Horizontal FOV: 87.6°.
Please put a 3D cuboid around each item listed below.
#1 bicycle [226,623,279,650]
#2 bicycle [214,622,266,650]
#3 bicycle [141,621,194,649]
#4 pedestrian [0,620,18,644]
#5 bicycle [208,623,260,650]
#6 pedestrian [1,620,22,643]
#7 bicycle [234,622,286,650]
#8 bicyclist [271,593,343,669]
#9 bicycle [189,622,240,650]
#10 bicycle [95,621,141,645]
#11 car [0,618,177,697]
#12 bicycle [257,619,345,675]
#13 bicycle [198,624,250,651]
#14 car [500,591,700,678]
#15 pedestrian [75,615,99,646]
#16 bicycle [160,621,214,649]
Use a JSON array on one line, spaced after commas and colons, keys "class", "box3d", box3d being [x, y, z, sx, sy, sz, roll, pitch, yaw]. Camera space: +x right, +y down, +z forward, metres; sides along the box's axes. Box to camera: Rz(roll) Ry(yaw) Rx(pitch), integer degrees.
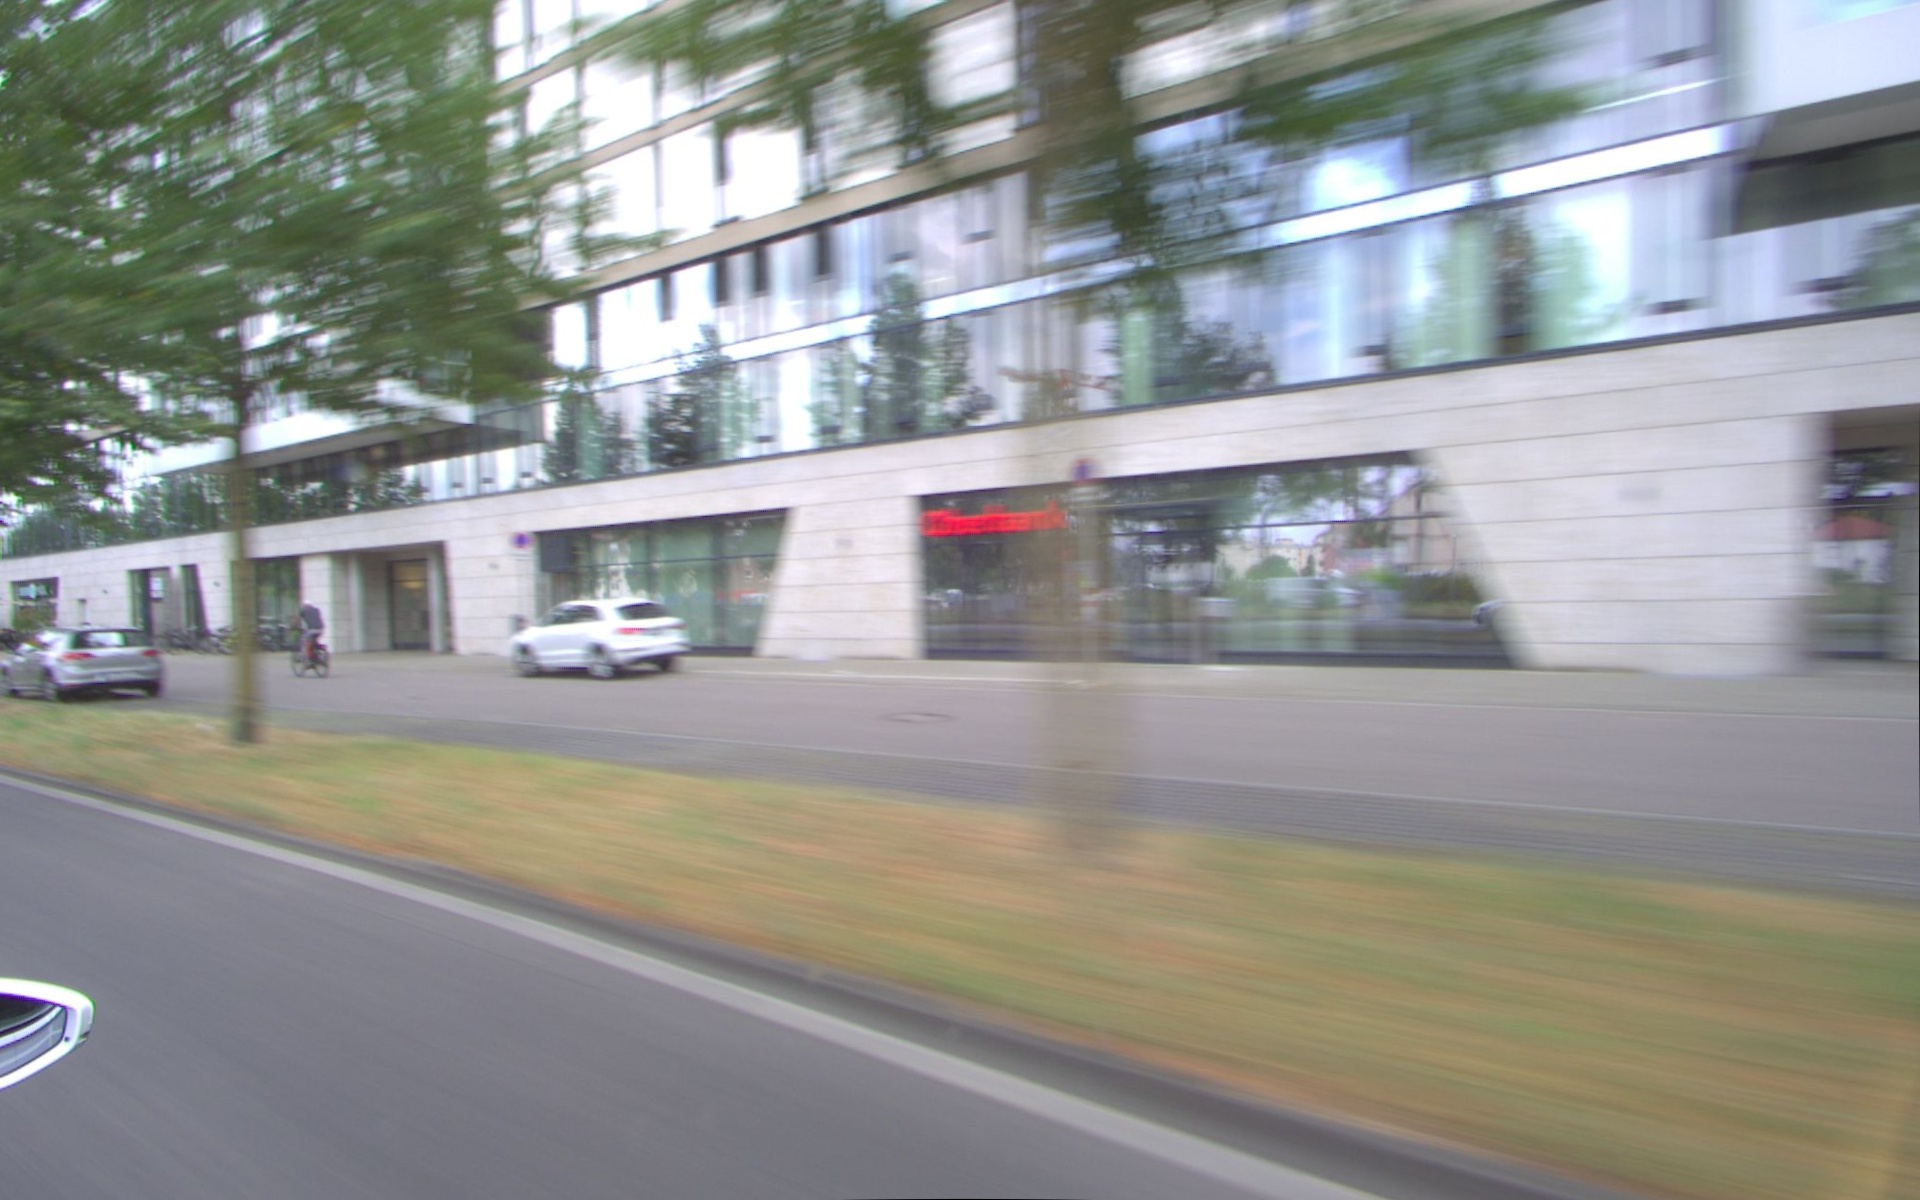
[{"class": "bicycle", "box3d": [-26.671, 1.361, 37.777, 0.525, 0.966, 1.526, -1, 1, 30]}, {"class": "bicycle", "box3d": [-27.477, 1.368, 38.236, 0.525, 0.966, 1.526, -1, 1, 30]}, {"class": "bicycle", "box3d": [-32.612, 1.432, 41.247, 0.525, 1.040, 1.595, -1, 1, 30]}, {"class": "pedestrian", "box3d": [-50.591, 1.694, 53.162, 0.767, 1.208, 1.096, -2, 1, -42]}, {"class": "bicycle", "box3d": [-27.969, 1.383, 38.575, 0.525, 0.966, 1.526, -1, 1, 30]}, {"class": "pedestrian", "box3d": [-51.595, 1.722, 54.471, 0.711, 1.208, 0.754, -2, 1, -35]}, {"class": "bicycle", "box3d": [-26.197, 1.344, 37.493, 0.525, 0.966, 1.526, -1, 1, 30]}, {"class": "bicyclist", "box3d": [-16.012, 0.756, 24.554, 1.113, 1.761, 0.994, -1, 4, 32]}, {"class": "bicycle", "box3d": [-29.418, 1.413, 39.538, 0.525, 1.040, 1.526, -1, 1, 30]}, {"class": "bicycle", "box3d": [-38.385, 1.498, 45.680, 0.599, 1.040, 1.602, -1, 1, 6]}, {"class": "car", "box3d": [-17.926, 1.116, 20.500, 4.124, 1.440, 1.756, -1, 0, 34]}, {"class": "bicycle", "box3d": [-16.207, 1.128, 24.625, 2.236, 1.252, 0.899, -1, 3, 33]}, {"class": "bicycle", "box3d": [-28.661, 1.448, 38.999, 0.525, 0.966, 1.526, -1, 1, 30]}, {"class": "car", "box3d": [-7.764, 0.706, 21.478, 4.181, 1.610, 1.852, -1, 3, 34]}, {"class": "pedestrian", "box3d": [-41.541, 1.447, 47.636, 0.712, 1.426, 0.752, 0, 1, 41]}, {"class": "bicycle", "box3d": [-31.079, 1.405, 40.269, 0.525, 1.040, 1.595, -1, 1, 30]}]
